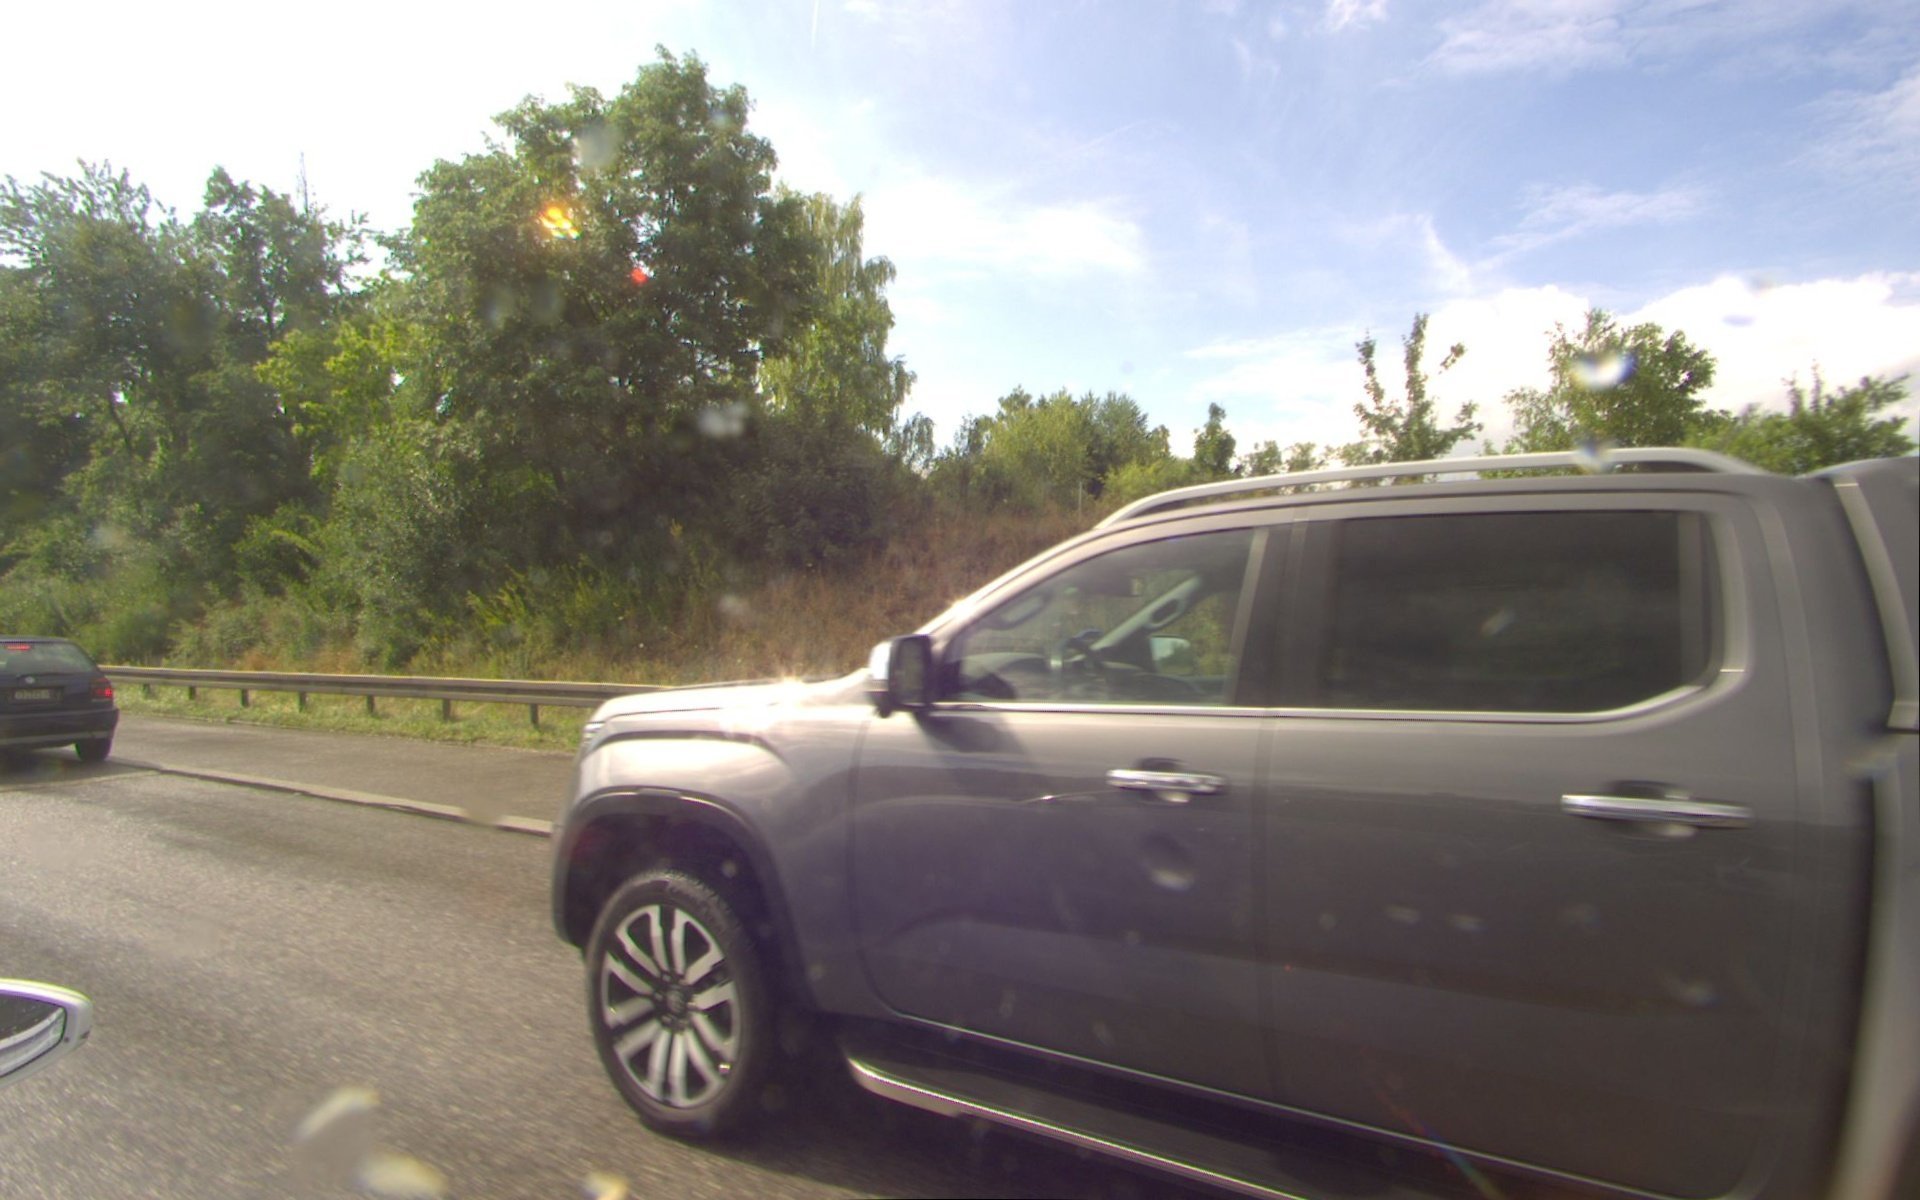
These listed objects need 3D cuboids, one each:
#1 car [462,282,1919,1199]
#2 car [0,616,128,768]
[{"bbox_3d":[1.205,0.541,2.761,5.569,1.943,1.939,-1,-2,31],"label":"car"},{"bbox_3d":[-11.264,0.979,11.353,3.917,1.535,1.589,-1,-2,30],"label":"car"}]
